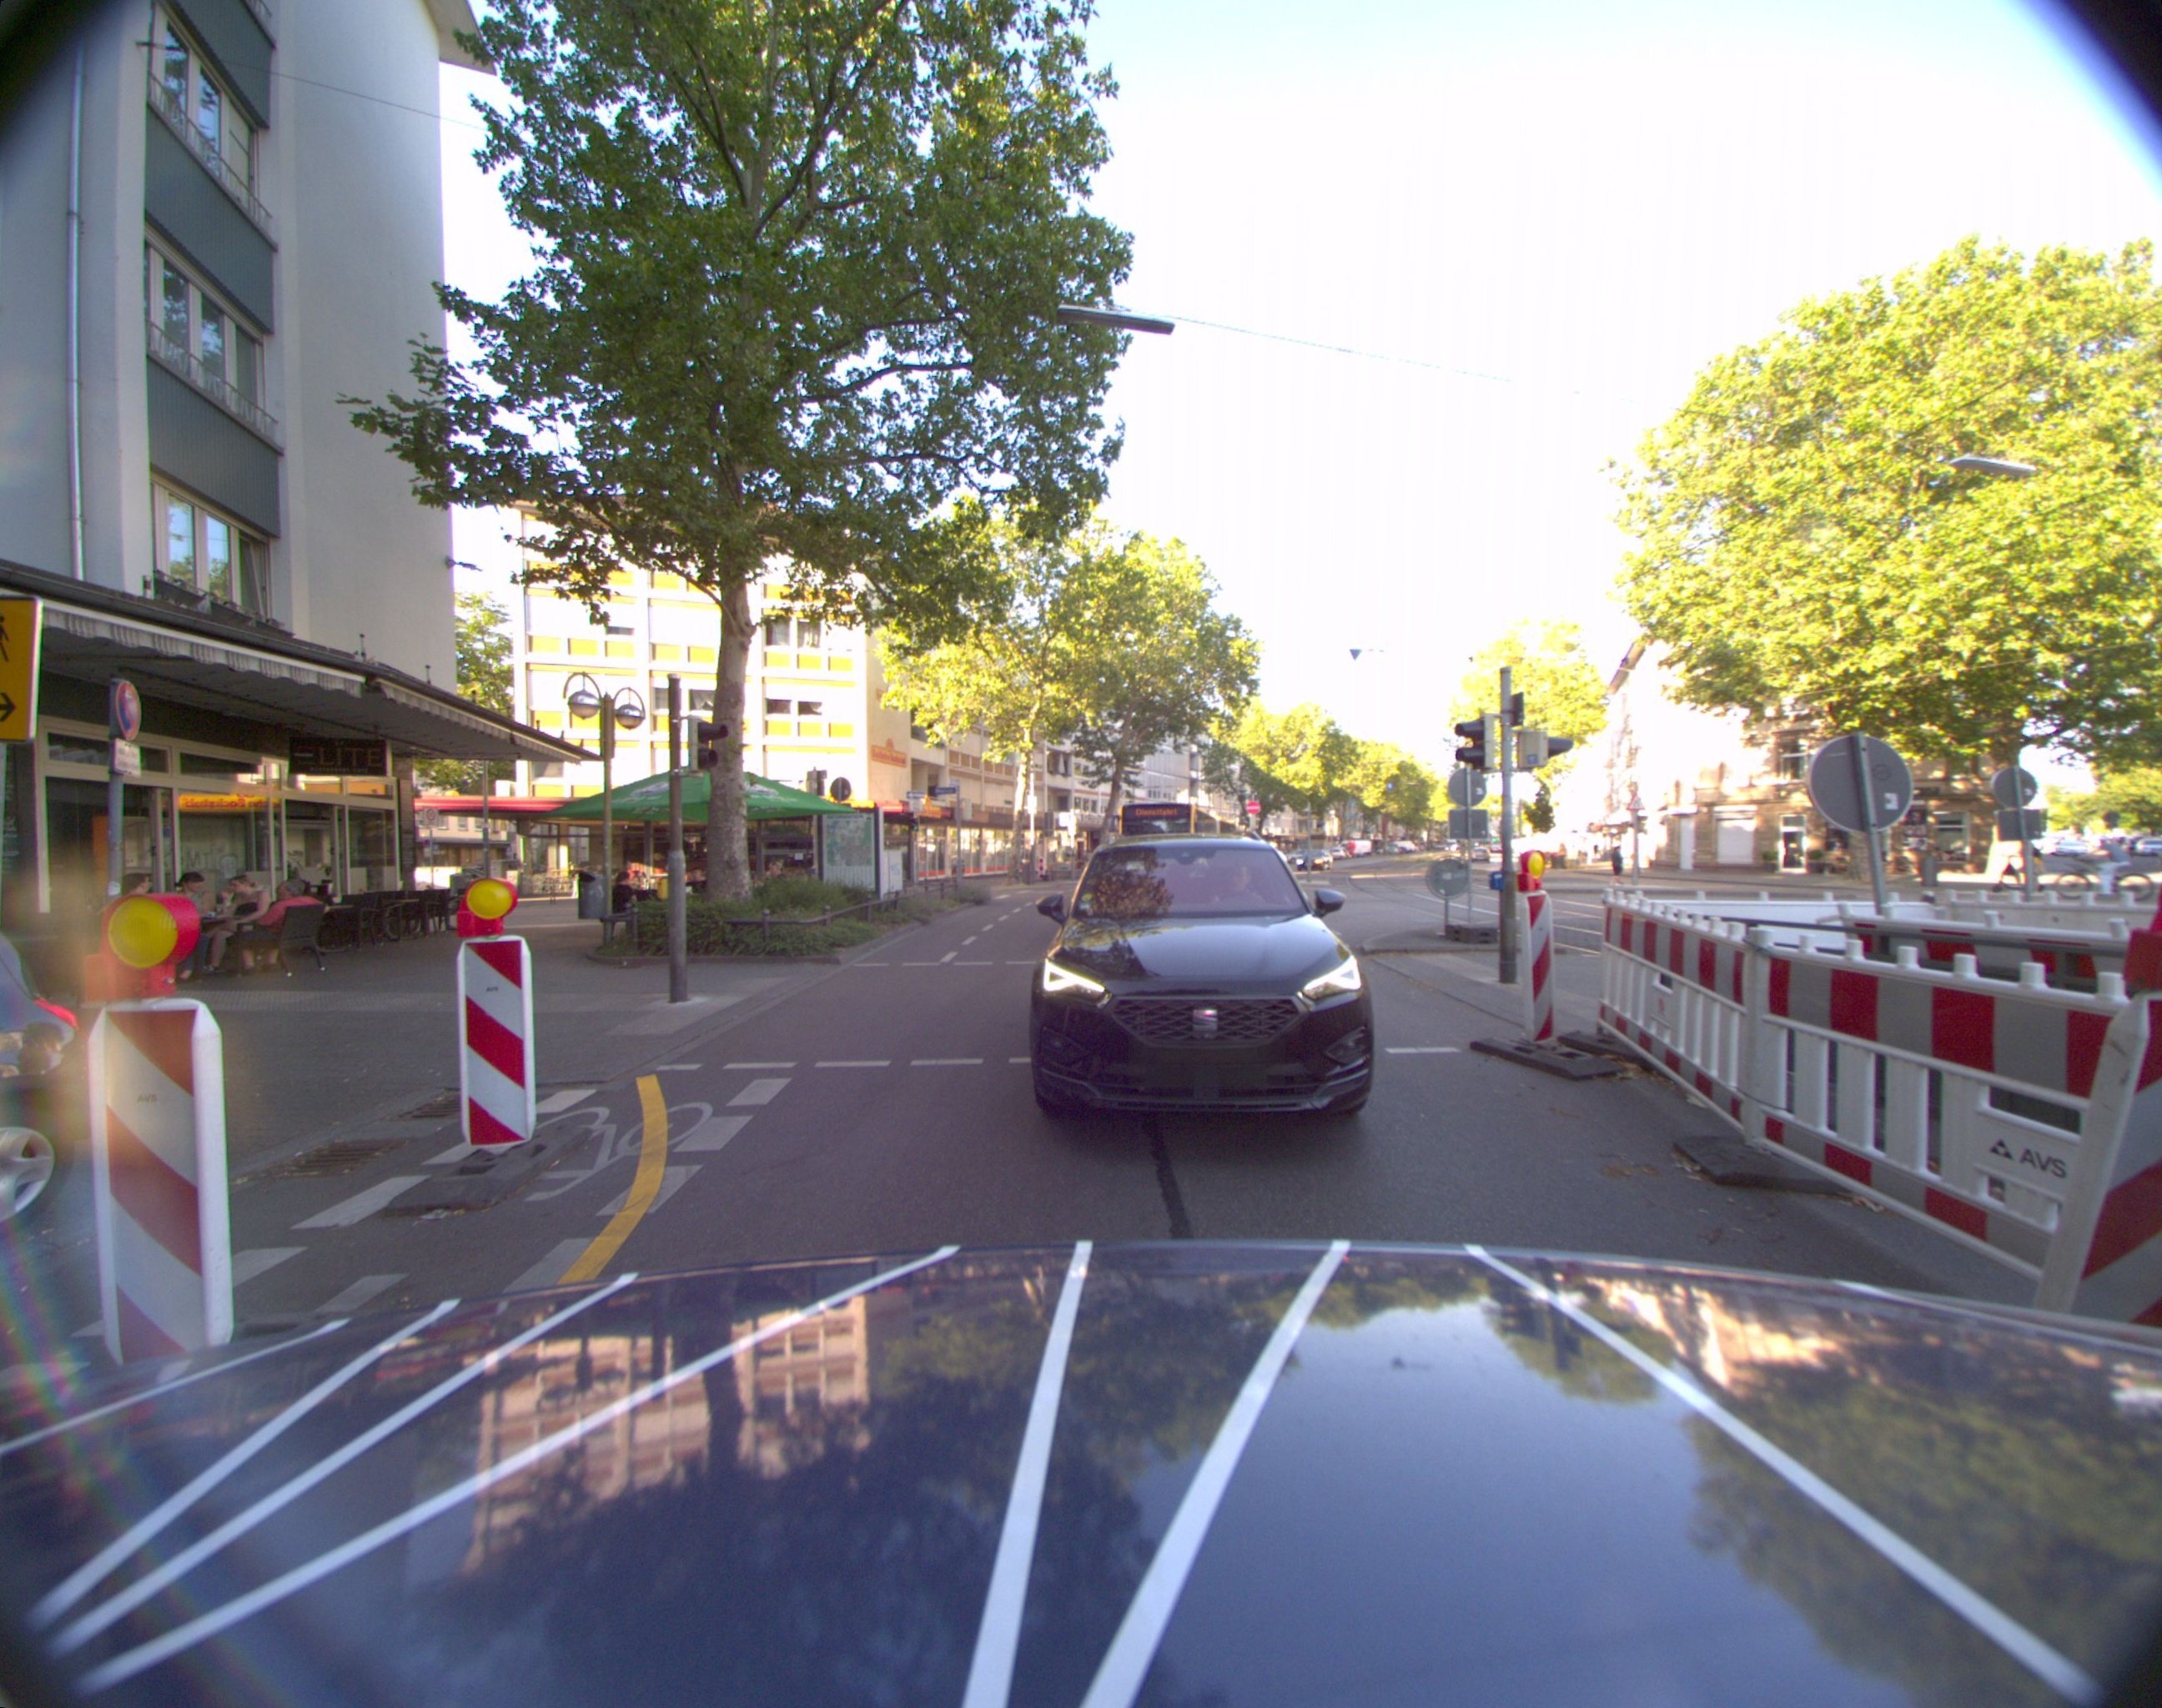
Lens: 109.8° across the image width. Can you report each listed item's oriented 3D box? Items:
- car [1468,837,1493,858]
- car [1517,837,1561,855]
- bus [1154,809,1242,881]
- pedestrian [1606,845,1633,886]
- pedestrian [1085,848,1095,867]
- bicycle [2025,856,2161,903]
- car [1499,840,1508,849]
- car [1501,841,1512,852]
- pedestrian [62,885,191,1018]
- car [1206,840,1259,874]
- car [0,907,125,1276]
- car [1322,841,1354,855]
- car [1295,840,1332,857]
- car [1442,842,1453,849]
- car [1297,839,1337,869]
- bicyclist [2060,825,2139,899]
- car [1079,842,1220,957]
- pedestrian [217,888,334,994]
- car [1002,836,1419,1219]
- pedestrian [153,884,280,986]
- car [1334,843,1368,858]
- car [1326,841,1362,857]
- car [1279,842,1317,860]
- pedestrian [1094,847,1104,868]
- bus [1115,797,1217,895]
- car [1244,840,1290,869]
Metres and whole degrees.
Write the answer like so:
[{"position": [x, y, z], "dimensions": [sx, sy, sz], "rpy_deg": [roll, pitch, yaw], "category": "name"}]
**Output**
[{"position": [38.549, -0.609, 73.263], "dimensions": [1.995, 2.002, 4.007], "rpy_deg": [0, 1, 29], "category": "car"}, {"position": [52.369, -0.960, 86.882], "dimensions": [4.001, 2.002, 1.997], "rpy_deg": [-1, 1, -13], "category": "car"}, {"position": [5.908, -0.439, 36.911], "dimensions": [2.717, 3.088, 8.608], "rpy_deg": [0, 1, 19], "category": "bus"}, {"position": [20.299, 0.429, 28.652], "dimensions": [0.603, 1.524, 0.745], "rpy_deg": [0, 1, 12], "category": "pedestrian"}, {"position": [0.716, 0.267, 59.019], "dimensions": [0.627, 1.429, 0.532], "rpy_deg": [0, 1, 20], "category": "pedestrian"}, {"position": [28.289, 0.676, 21.187], "dimensions": [0.851, 1.186, 2.465], "rpy_deg": [-1, 1, -1], "category": "bicycle"}, {"position": [86.066, -1.966, 154.794], "dimensions": [1.686, 1.737, 4.007], "rpy_deg": [0, 1, 29], "category": "car"}, {"position": [74.076, -1.267, 132.388], "dimensions": [1.686, 1.841, 4.007], "rpy_deg": [0, 1, 29], "category": "car"}, {"position": [-10.192, 0.999, 8.120], "dimensions": [0.789, 1.299, 0.701], "rpy_deg": [0, 1, 28], "category": "pedestrian"}, {"position": [9.190, 0.152, 45.938], "dimensions": [1.995, 2.002, 4.105], "rpy_deg": [0, 1, 29], "category": "car"}, {"position": [-5.226, 0.972, 1.652], "dimensions": [1.771, 1.459, 3.610], "rpy_deg": [2, 0, -2], "category": "car"}, {"position": [36.425, -0.845, 107.604], "dimensions": [3.994, 2.002, 2.001], "rpy_deg": [-1, 1, 8], "category": "car"}, {"position": [28.270, -0.682, 92.574], "dimensions": [3.994, 2.002, 2.001], "rpy_deg": [-1, 1, 8], "category": "car"}, {"position": [85.884, -2.015, 177.990], "dimensions": [1.836, 1.692, 4.138], "rpy_deg": [0, 1, 31], "category": "car"}, {"position": [16.548, -0.046, 53.224], "dimensions": [1.995, 2.002, 4.007], "rpy_deg": [0, 1, 27], "category": "car"}, {"position": [28.281, 0.216, 21.116], "dimensions": [0.855, 2.002, 0.983], "rpy_deg": [-1, 1, 0], "category": "bicyclist"}, {"position": [1.011, 0.641, 12.953], "dimensions": [1.998, 1.634, 4.075], "rpy_deg": [-1, 1, 1], "category": "car"}, {"position": [-9.844, 1.028, 9.299], "dimensions": [0.877, 1.186, 0.701], "rpy_deg": [0, 1, 24], "category": "pedestrian"}, {"position": [0.606, 0.759, 5.377], "dimensions": [1.841, 1.696, 4.000], "rpy_deg": [-1, 1, 1], "category": "car"}, {"position": [-10.832, 0.993, 9.546], "dimensions": [0.647, 1.186, 0.792], "rpy_deg": [0, 1, 7], "category": "pedestrian"}, {"position": [36.518, -0.471, 102.990], "dimensions": [3.994, 2.002, 2.001], "rpy_deg": [-1, 1, 8], "category": "car"}, {"position": [34.051, -0.640, 98.406], "dimensions": [3.994, 2.002, 2.001], "rpy_deg": [-1, 1, 8], "category": "car"}, {"position": [24.316, -0.355, 85.106], "dimensions": [3.991, 2.002, 2.003], "rpy_deg": [0, 1, 18], "category": "car"}, {"position": [1.409, 0.257, 58.495], "dimensions": [0.627, 1.577, 0.532], "rpy_deg": [0, 1, 20], "category": "pedestrian"}, {"position": [3.438, -0.289, 28.317], "dimensions": [2.718, 3.088, 8.629], "rpy_deg": [0, 1, 13], "category": "bus"}, {"position": [13.494, 0.024, 54.945], "dimensions": [1.994, 2.002, 4.008], "rpy_deg": [0, 1, 33], "category": "car"}]
